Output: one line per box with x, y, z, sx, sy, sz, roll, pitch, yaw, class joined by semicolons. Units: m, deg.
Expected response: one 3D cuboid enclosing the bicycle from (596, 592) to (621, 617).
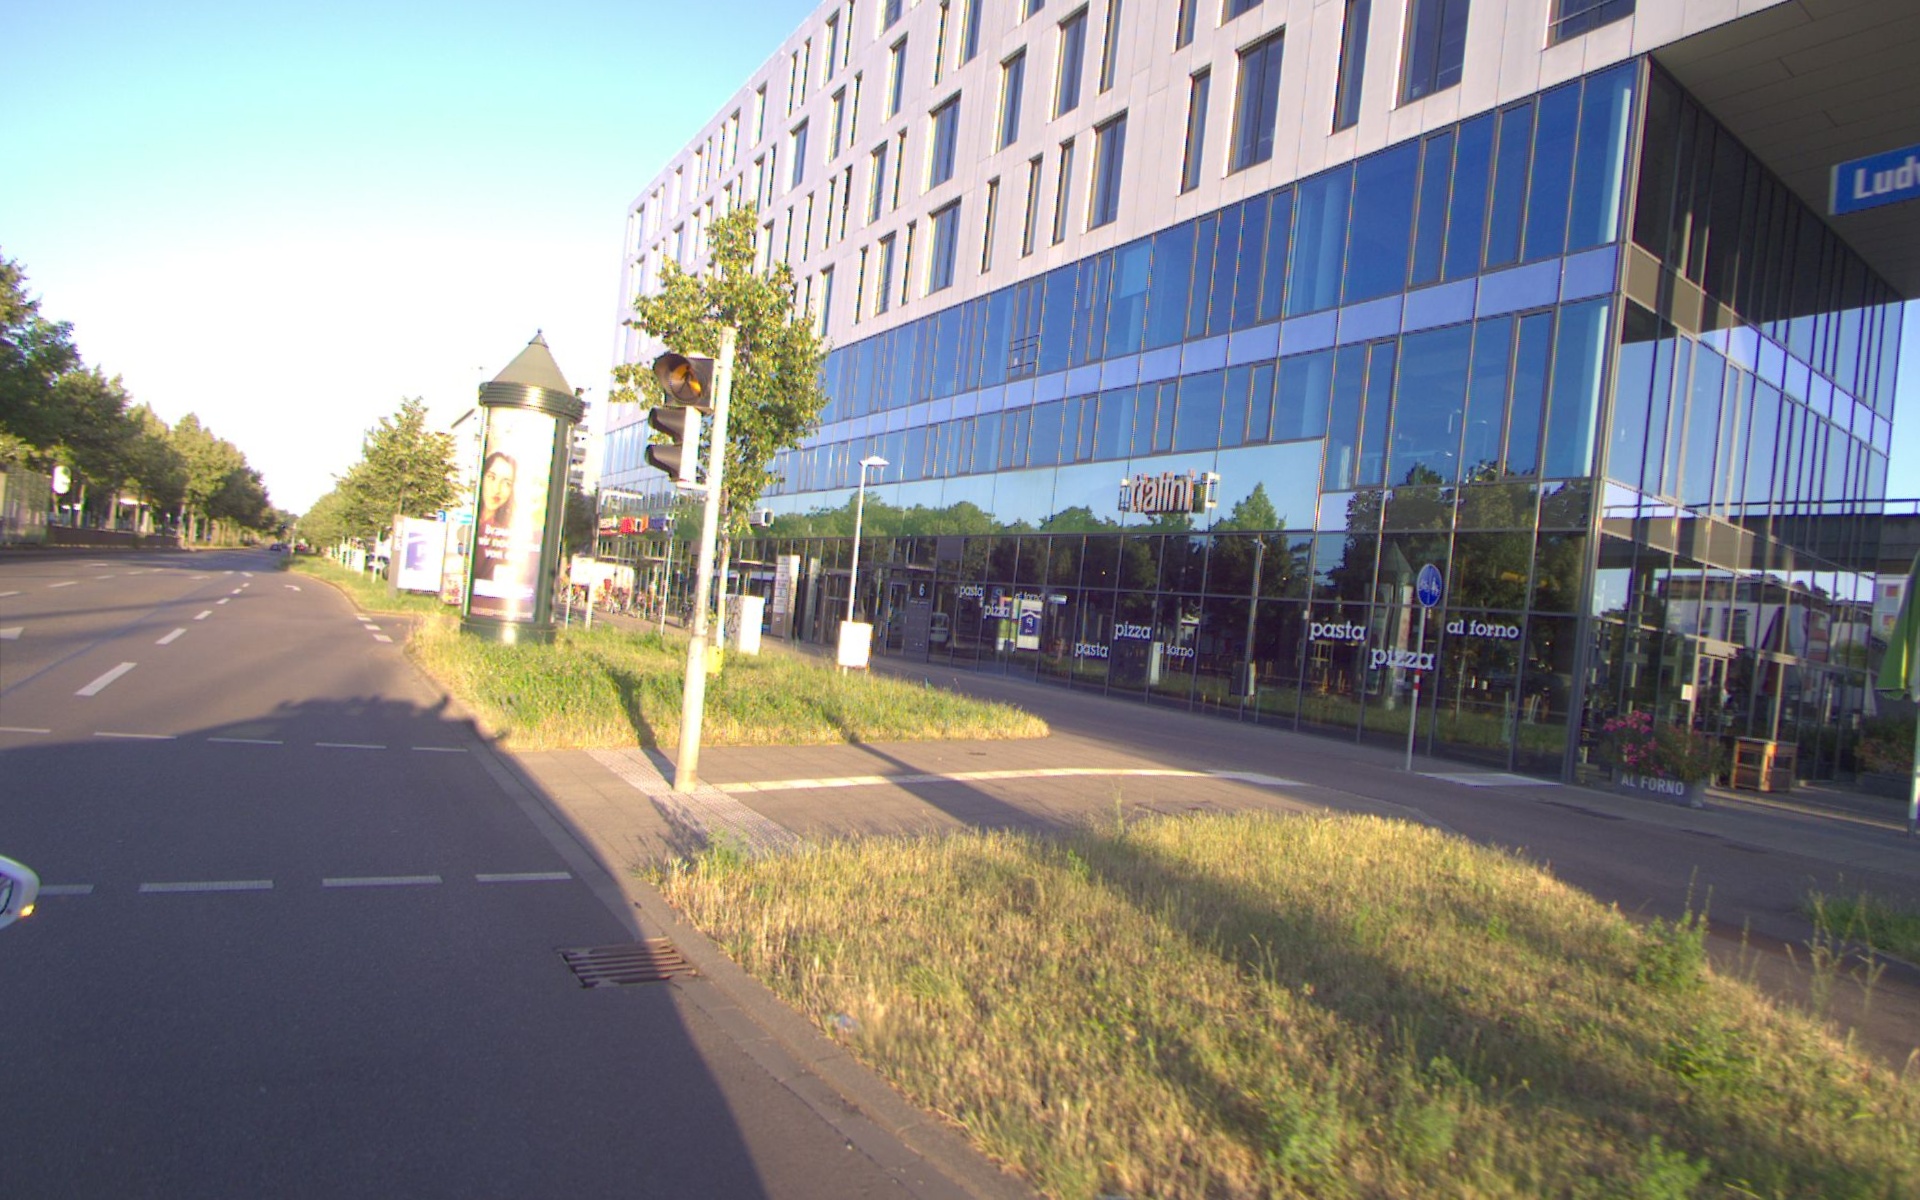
-16.966;0.200;48.532;0.629;1.081;2.106;6;-1;-31;bicycle

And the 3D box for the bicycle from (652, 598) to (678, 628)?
-12.050;0.518;40.995;0.628;1.081;2.110;6;-1;-24;bicycle

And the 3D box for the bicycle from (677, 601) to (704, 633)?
-10.421;0.646;38.863;0.537;1.081;1.992;6;-1;-27;bicycle

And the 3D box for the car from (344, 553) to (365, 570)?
-73.963;-4.692;122.817;1.883;1.793;3.911;7;-1;-34;car

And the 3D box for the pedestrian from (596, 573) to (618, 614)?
-19.403;-0.366;55.301;0.806;2.116;1.104;5;0;-31;pedestrian

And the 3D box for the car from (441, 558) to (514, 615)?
-18.822;-0.555;39.155;1.840;1.848;4.358;9;-2;-33;car

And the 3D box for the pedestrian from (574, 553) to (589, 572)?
-32.792;-3.255;87.161;0.800;1.473;1.111;5;0;-8;pedestrian

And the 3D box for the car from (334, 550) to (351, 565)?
-99.771;-6.878;162.514;1.981;2.038;3.964;7;-1;-34;car

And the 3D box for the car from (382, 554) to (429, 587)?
-36.024;-1.933;65.302;1.984;1.716;4.550;9;-2;-36;car

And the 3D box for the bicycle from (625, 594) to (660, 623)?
-13.857;0.358;43.892;0.631;1.081;2.100;6;-1;-38;bicycle

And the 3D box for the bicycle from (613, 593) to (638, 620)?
-15.456;0.298;46.456;0.629;1.081;2.107;6;-1;-29;bicycle

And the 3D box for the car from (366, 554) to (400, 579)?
-48.405;-2.803;84.353;1.983;1.716;4.375;9;-2;-34;car

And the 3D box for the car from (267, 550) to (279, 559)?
-134.099;-8.874;196.356;1.684;1.616;3.964;5;-1;-34;car

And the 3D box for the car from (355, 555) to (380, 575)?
-60.854;-3.610;103.333;2.015;1.716;4.364;9;-2;-30;car
